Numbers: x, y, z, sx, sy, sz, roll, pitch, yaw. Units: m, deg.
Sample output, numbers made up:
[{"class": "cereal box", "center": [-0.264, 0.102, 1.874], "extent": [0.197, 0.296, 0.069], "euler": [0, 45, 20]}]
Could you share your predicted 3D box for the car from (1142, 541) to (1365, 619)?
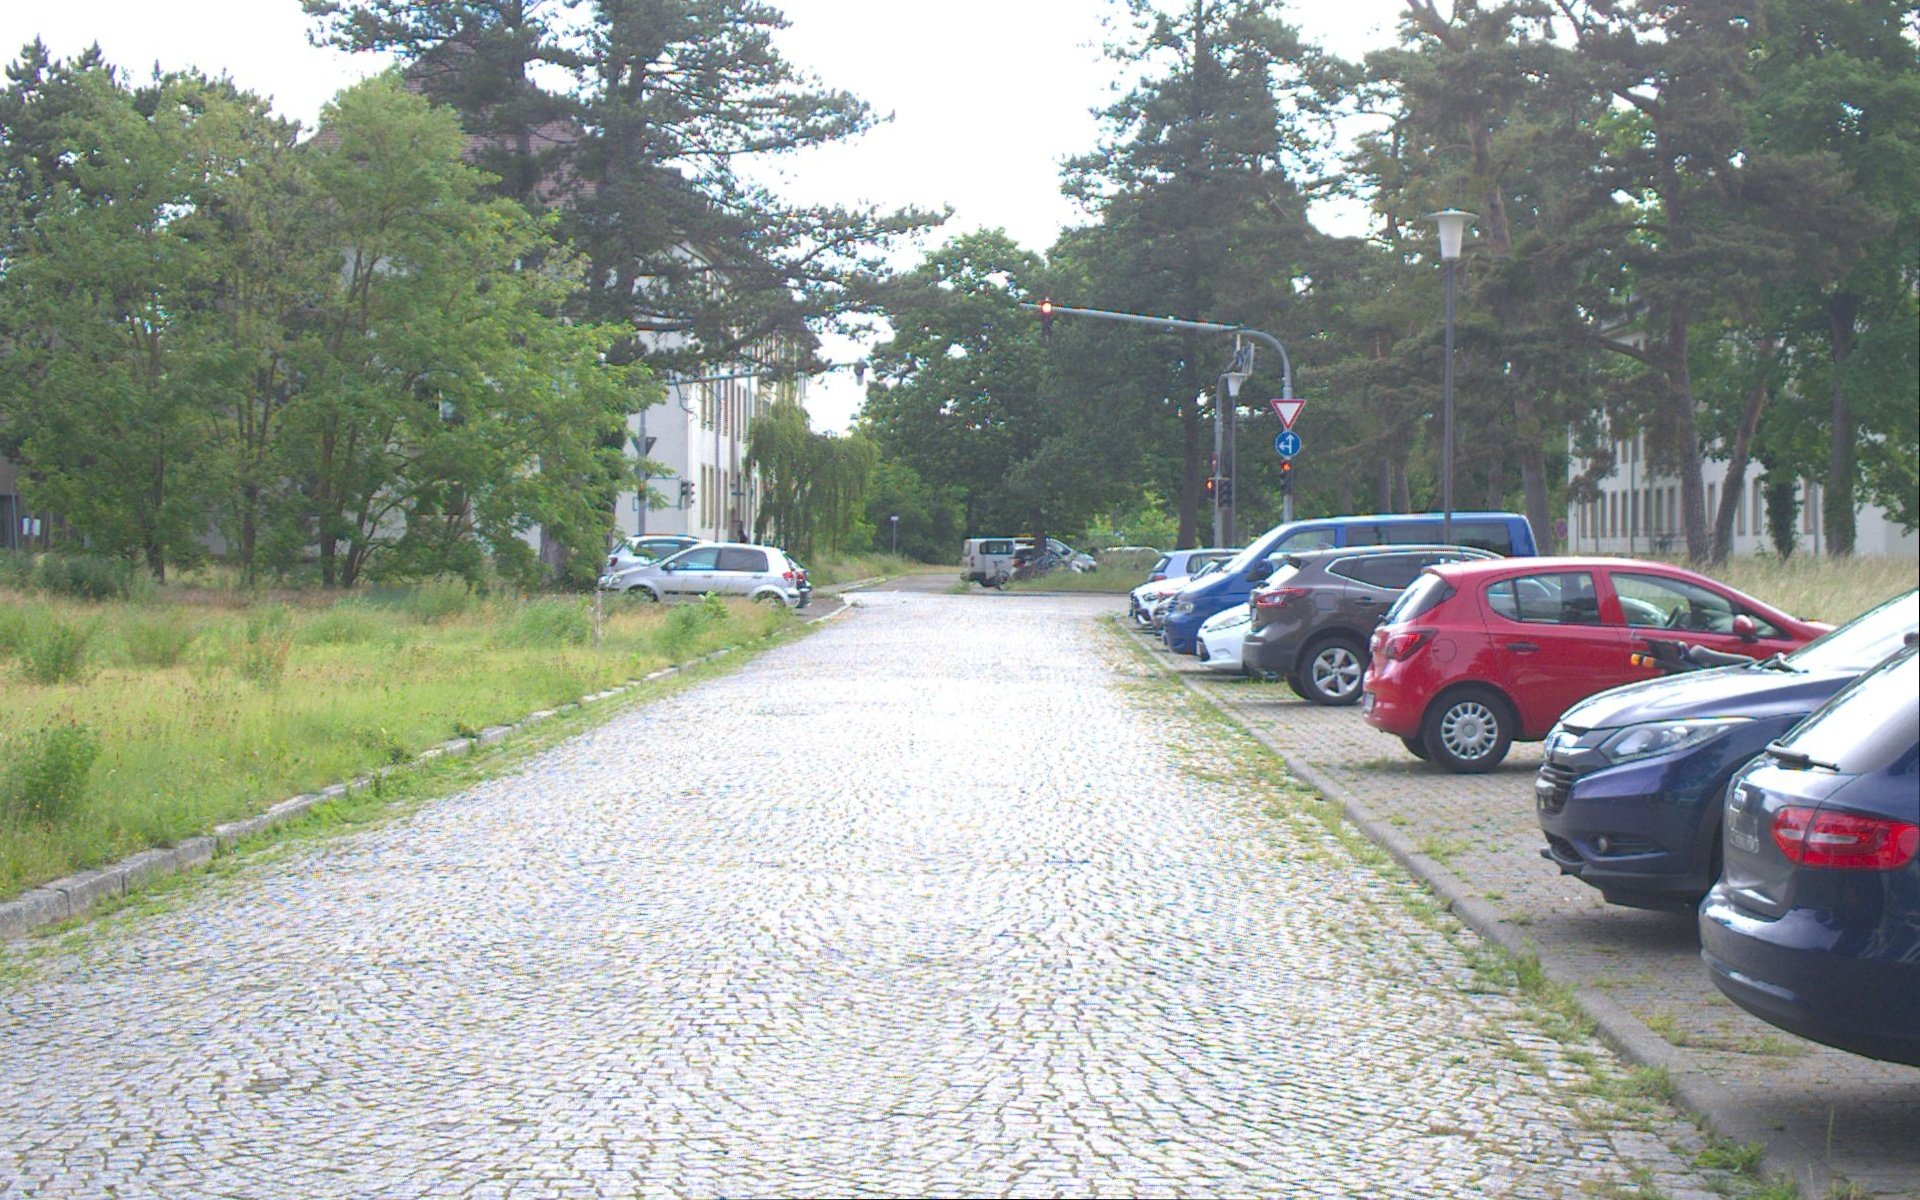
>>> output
[{"class": "car", "center": [5.731, -0.405, 67.385], "extent": [4.134, 1.458, 1.634], "euler": [-1, 1, -4]}]

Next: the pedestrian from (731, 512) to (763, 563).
[{"class": "pedestrian", "center": [-8.192, -2.401, 132.349], "extent": [1.074, 1.952, 1.121], "euler": [2, 1, 1]}]

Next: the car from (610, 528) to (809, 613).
[{"class": "car", "center": [-4.844, -0.584, 66.711], "extent": [3.720, 1.475, 1.673], "euler": [3, 1, -1]}]

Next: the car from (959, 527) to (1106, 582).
[{"class": "car", "center": [2.827, -1.795, 134.386], "extent": [5.374, 2.094, 2.179], "euler": [0, 1, -11]}]

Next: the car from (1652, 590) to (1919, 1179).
[{"class": "car", "center": [4.241, 0.699, 9.430], "extent": [4.357, 1.434, 1.926], "euler": [0, 1, 3]}]

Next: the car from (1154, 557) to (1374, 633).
[{"class": "car", "center": [5.047, -0.090, 57.378], "extent": [3.587, 1.218, 1.628], "euler": [0, 1, 3]}]

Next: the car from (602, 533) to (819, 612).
[{"class": "car", "center": [-5.033, -0.566, 69.314], "extent": [4.297, 1.548, 1.812], "euler": [-1, 1, -5]}]

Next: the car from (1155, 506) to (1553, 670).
[{"class": "car", "center": [4.947, -0.168, 43.667], "extent": [4.795, 1.997, 1.966], "euler": [0, 1, -1]}]

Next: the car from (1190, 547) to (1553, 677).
[{"class": "car", "center": [4.880, 0.123, 41.127], "extent": [4.097, 1.473, 1.722], "euler": [-1, 1, -2]}]

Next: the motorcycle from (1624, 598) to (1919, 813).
[{"class": "motorcycle", "center": [5.028, 0.600, 19.966], "extent": [2.230, 1.198, 0.568], "euler": [-1, 1, -1]}]

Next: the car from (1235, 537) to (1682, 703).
[{"class": "car", "center": [4.979, 0.174, 34.766], "extent": [4.203, 1.589, 1.953], "euler": [-1, 1, -1]}]

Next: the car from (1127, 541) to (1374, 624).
[{"class": "car", "center": [5.217, -0.330, 62.077], "extent": [4.184, 1.432, 1.755], "euler": [-1, 1, -6]}]

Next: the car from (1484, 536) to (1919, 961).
[{"class": "car", "center": [4.435, 0.547, 14.166], "extent": [4.244, 1.617, 1.887], "euler": [0, 1, 0]}]

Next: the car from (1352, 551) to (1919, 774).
[{"class": "car", "center": [4.862, 0.413, 24.462], "extent": [3.923, 1.491, 1.785], "euler": [0, 1, 0]}]

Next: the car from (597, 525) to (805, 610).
[{"class": "car", "center": [-5.419, -0.695, 72.127], "extent": [4.297, 1.726, 1.653], "euler": [-1, 1, -4]}]
